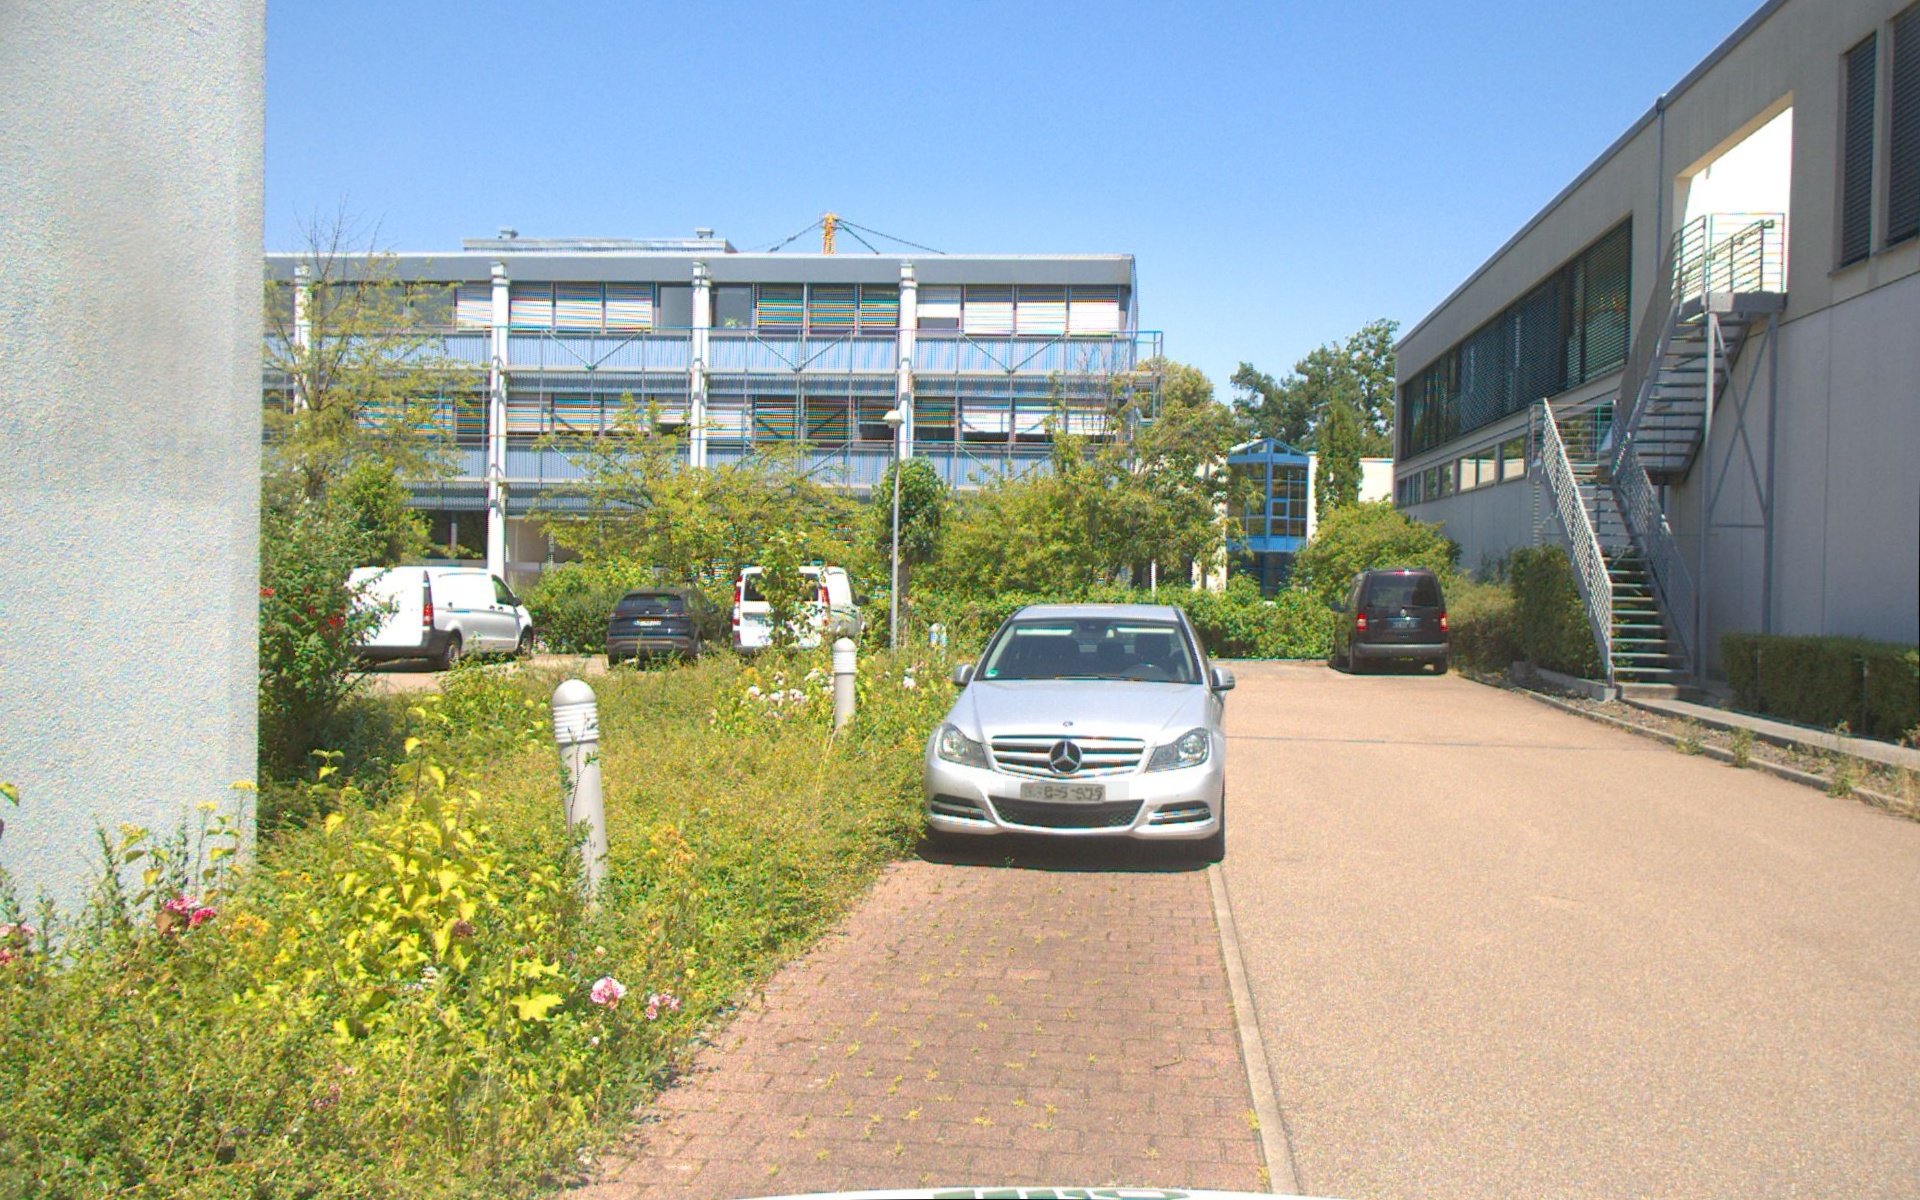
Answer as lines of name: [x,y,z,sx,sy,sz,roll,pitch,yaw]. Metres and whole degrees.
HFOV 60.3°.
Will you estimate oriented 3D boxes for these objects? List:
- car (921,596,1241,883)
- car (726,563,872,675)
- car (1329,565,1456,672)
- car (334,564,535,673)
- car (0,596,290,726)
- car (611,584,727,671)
car: [0.956,0.729,10.830,1.692,1.482,4.151,0,0,9]
car: [-2.942,0.287,31.226,1.872,1.938,4.811,0,1,5]
car: [8.011,0.303,30.942,1.706,1.869,4.003,0,1,6]
car: [-10.042,0.279,32.050,1.841,1.924,4.808,0,1,8]
car: [-10.963,0.720,22.114,1.818,1.498,4.487,0,1,6]
car: [-5.575,0.473,32.076,1.719,1.502,3.998,0,1,-3]
